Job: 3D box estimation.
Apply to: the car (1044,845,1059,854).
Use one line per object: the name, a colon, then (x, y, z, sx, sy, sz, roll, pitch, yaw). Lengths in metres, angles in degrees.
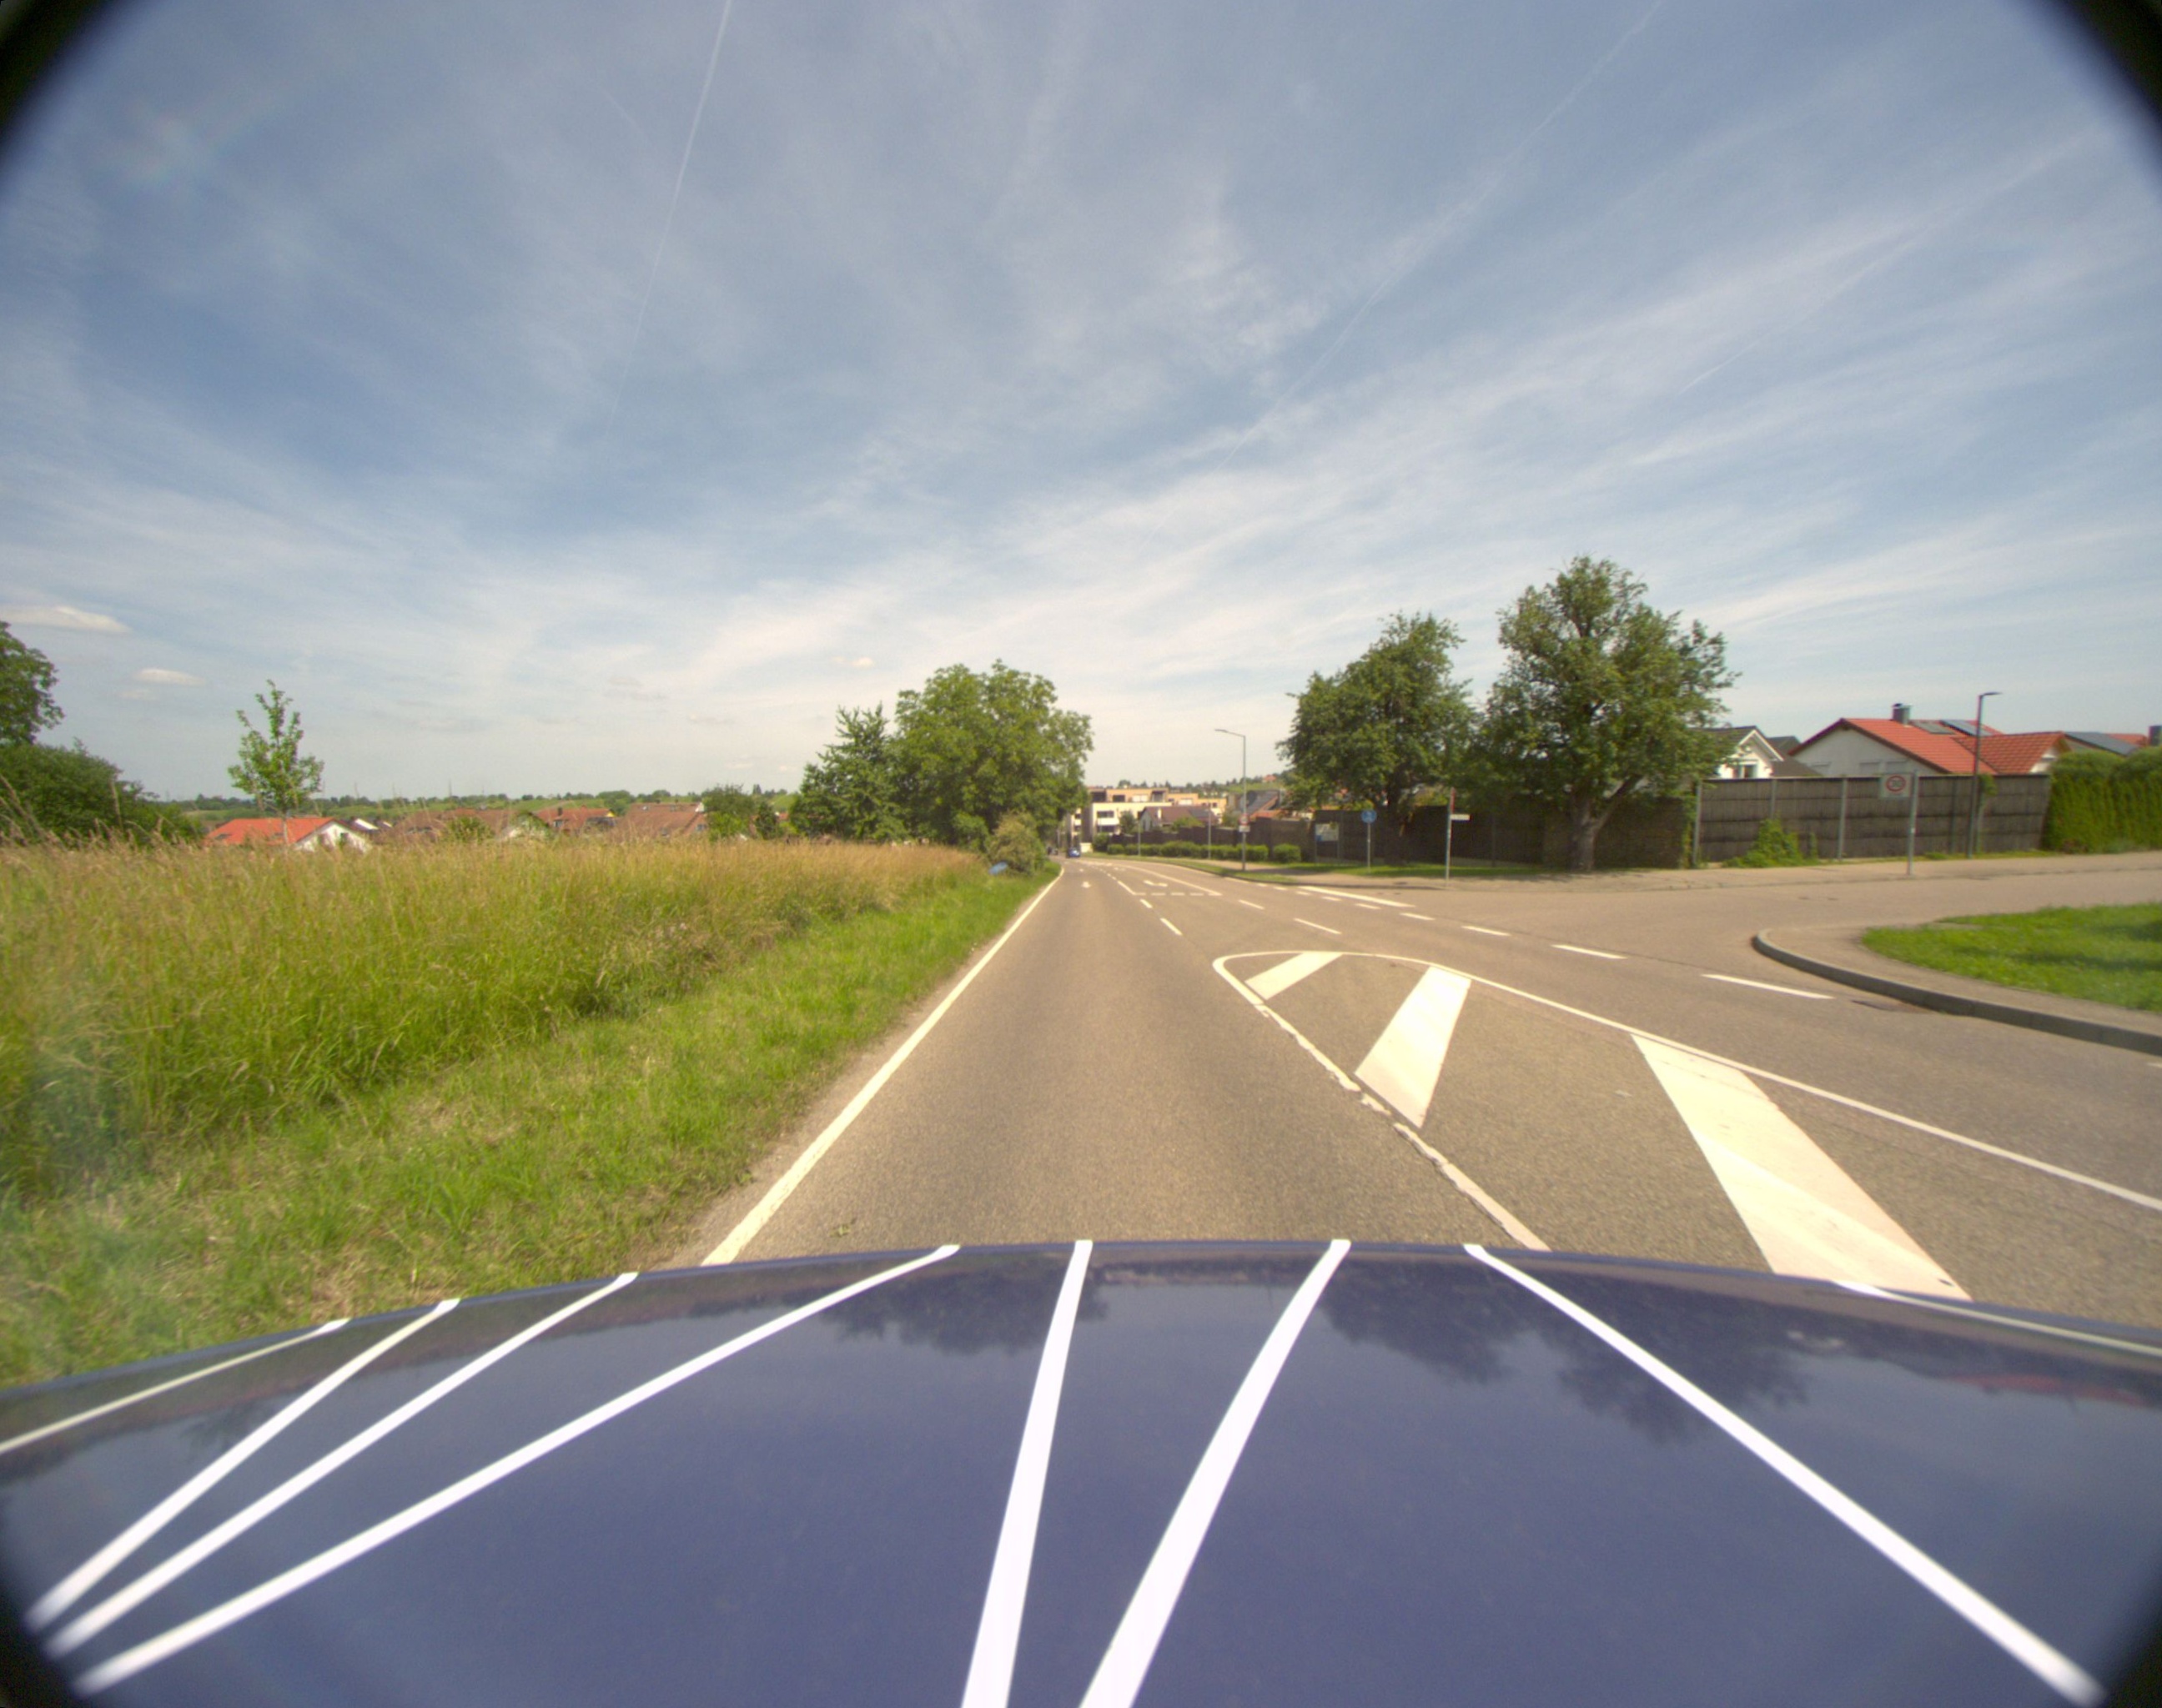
car: (-5.349, -0.763, 137.809, 1.831, 1.572, 3.994, -1, 1, -16)

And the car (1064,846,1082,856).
car: (-1.167, -0.406, 112.257, 1.614, 1.483, 3.843, -1, 0, -16)
